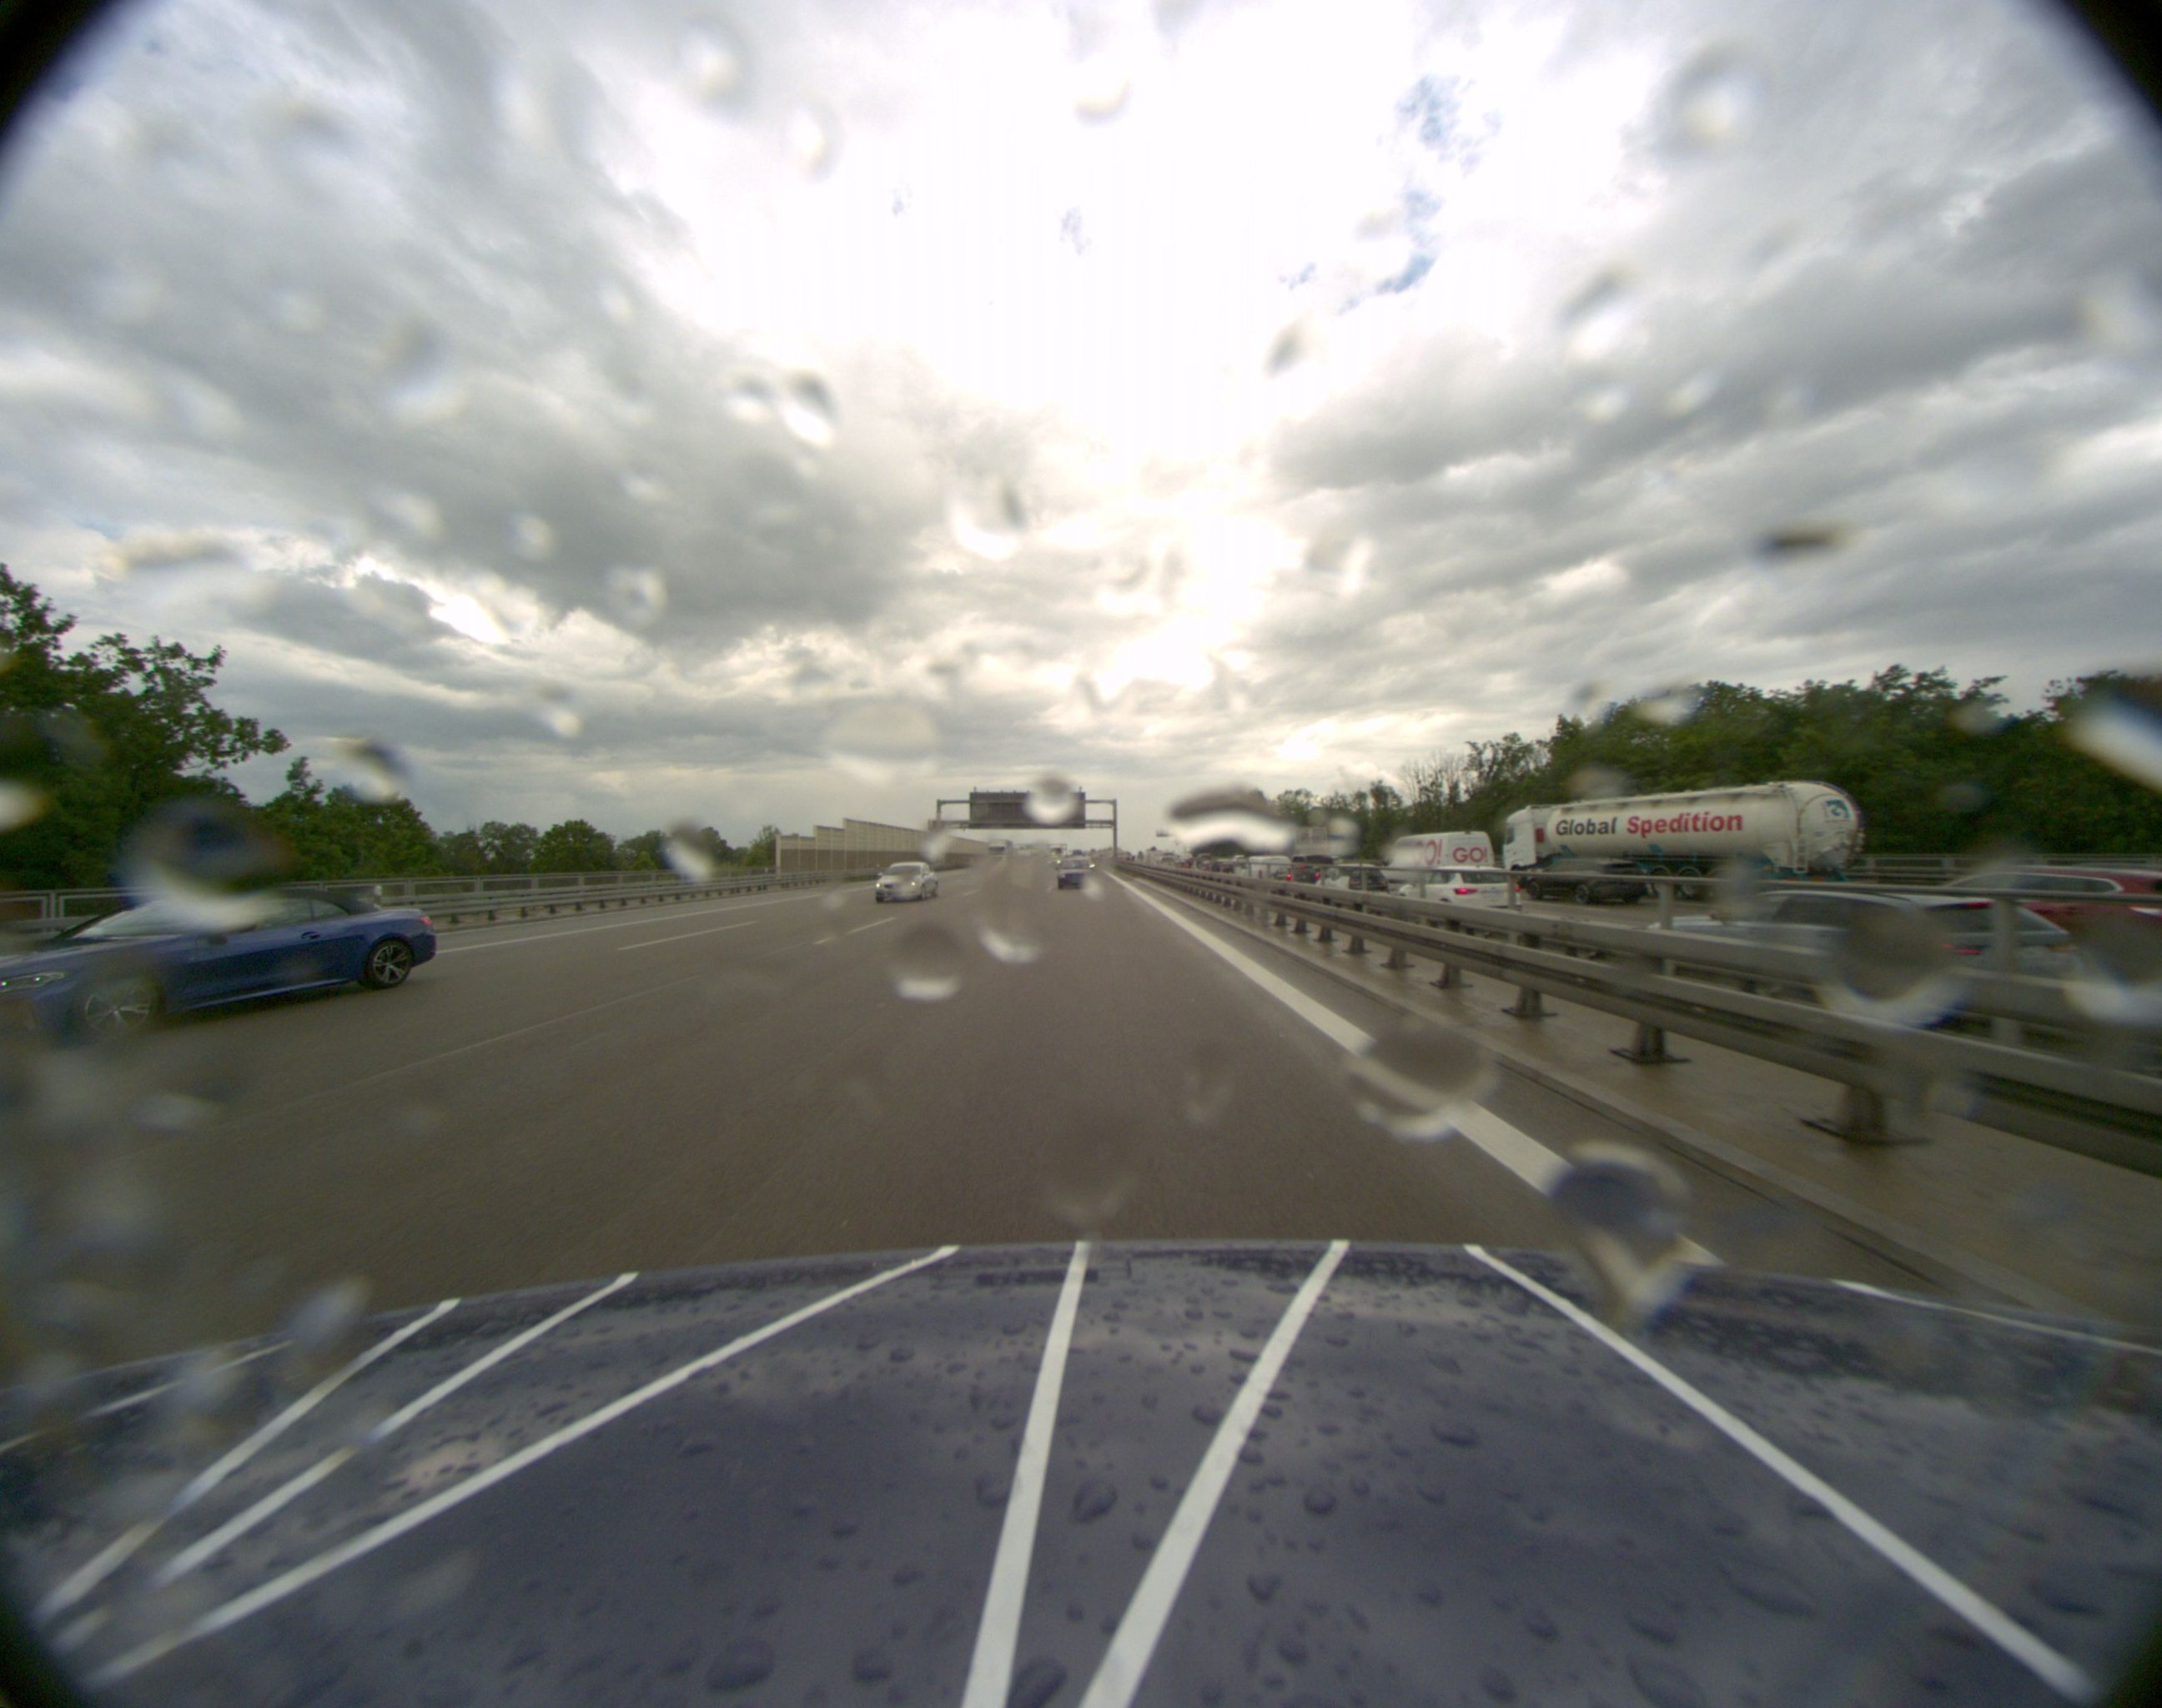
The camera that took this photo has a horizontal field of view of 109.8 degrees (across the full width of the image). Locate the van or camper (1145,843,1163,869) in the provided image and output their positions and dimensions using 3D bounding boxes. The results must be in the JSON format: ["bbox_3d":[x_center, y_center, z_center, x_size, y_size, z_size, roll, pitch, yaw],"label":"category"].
[{"bbox_3d":[9.959,0.284,104.137,2.007,3.381,4.368,-1,0,-1],"label":"van or camper"}]

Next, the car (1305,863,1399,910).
[{"bbox_3d":[9.931,1.139,28.230,1.794,1.501,4.602,-1,0,-1],"label":"car"}]

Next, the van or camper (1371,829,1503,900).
[{"bbox_3d":[14.515,0.364,31.690,2.039,2.589,7.457,-1,0,0],"label":"van or camper"}]

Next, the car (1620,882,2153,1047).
[{"bbox_3d":[10.246,1.252,10.499,1.957,1.506,5.070,-1,0,-1],"label":"car"}]

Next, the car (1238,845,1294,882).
[{"bbox_3d":[10.319,0.506,42.768,1.858,1.974,5.037,-1,0,-1],"label":"car"}]

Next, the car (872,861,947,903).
[{"bbox_3d":[-6.608,1.041,29.761,1.898,1.438,4.245,-2,0,0],"label":"car"}]

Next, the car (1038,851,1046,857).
[{"bbox_3d":[-9.854,0.105,191.362,1.884,1.501,4.213,-1,0,0],"label":"car"}]

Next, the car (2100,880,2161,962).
[{"bbox_3d":[17.846,1.082,10.752,1.502,1.260,3.999,-1,1,0],"label":"car"}]

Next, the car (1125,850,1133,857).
[{"bbox_3d":[12.293,-0.127,194.856,1.737,1.565,4.000,-1,0,0],"label":"car"}]

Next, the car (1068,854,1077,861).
[{"bbox_3d":[-1.969,0.834,183.505,1.998,1.805,4.000,-1,0,0],"label":"car"}]

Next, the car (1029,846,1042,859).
[{"bbox_3d":[-8.875,-0.320,149.046,2.036,2.587,4.513,-1,0,1],"label":"car"}]

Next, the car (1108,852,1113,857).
[{"bbox_3d":[8.703,0.135,225.023,1.489,1.466,4.032,-1,0,0],"label":"car"}]

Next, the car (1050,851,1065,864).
[{"bbox_3d":[-3.350,0.495,109.482,1.962,1.831,3.999,-1,1,0],"label":"car"}]

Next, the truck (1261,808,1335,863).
[{"bbox_3d":[18.471,-1.453,65.490,3.266,4.267,10.868,-1,0,0],"label":"truck"}]

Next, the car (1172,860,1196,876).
[{"bbox_3d":[10.063,1.322,74.339,1.757,1.464,4.034,-1,0,-1],"label":"car"}]

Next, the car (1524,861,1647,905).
[{"bbox_3d":[17.733,0.979,26.963,1.502,1.358,4.323,-1,0,0],"label":"car"}]

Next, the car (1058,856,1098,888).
[{"bbox_3d":[-0.124,0.834,36.967,1.781,1.399,5.016,-2,0,0],"label":"car"}]

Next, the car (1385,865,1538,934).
[{"bbox_3d":[10.429,1.156,21.322,1.794,1.618,4.926,-1,0,-1],"label":"car"}]

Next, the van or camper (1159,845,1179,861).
[{"bbox_3d":[14.201,-0.173,122.887,2.455,2.562,5.421,-1,0,0],"label":"van or camper"}]

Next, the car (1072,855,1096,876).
[{"bbox_3d":[0.256,0.885,60.056,1.751,1.489,4.015,-2,1,1],"label":"car"}]

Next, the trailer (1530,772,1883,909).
[{"bbox_3d":[22.062,-0.408,28.649,2.468,3.935,13.219,-1,0,0],"label":"trailer"}]

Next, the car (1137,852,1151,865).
[{"bbox_3d":[10.307,0.744,123.929,1.998,1.956,4.000,-1,0,0],"label":"car"}]

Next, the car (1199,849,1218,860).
[{"bbox_3d":[18.597,0.060,110.888,2.025,1.504,4.000,-1,0,0],"label":"car"}]

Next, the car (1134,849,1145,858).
[{"bbox_3d":[10.319,-0.047,133.922,1.737,1.565,4.000,-1,0,0],"label":"car"}]

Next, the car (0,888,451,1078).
[{"bbox_3d":[-10.165,1.238,8.843,1.781,1.438,4.587,-2,0,0],"label":"car"}]

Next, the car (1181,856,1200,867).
[{"bbox_3d":[14.961,0.985,104.330,2.025,1.504,4.000,-1,0,0],"label":"car"}]

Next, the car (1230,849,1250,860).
[{"bbox_3d":[21.950,0.028,105.047,2.025,1.504,4.000,-1,0,0],"label":"car"}]

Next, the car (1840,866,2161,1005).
[{"bbox_3d":[14.251,1.036,11.118,1.836,1.638,4.419,-1,0,-1],"label":"car"}]

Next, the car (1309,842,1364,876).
[{"bbox_3d":[14.576,0.280,43.567,1.709,1.829,4.114,-1,0,-1],"label":"car"}]

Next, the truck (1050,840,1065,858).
[{"bbox_3d":[-5.081,-1.035,164.863,2.958,3.777,12.324,-2,0,-2],"label":"truck"}]

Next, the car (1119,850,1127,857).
[{"bbox_3d":[9.482,-0.158,170.351,1.489,1.467,4.032,-1,0,0],"label":"car"}]

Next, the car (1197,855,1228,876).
[{"bbox_3d":[10.073,0.857,58.587,1.673,1.497,4.000,-1,0,0],"label":"car"}]

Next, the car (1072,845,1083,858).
[{"bbox_3d":[-0.651,-0.458,141.788,1.998,2.354,4.172,-2,0,1],"label":"car"}]

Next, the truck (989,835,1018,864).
[{"bbox_3d":[-11.392,-0.631,112.894,3.255,3.884,12.311,-2,0,-2],"label":"truck"}]

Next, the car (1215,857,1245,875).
[{"bbox_3d":[14.198,1.109,72.628,1.932,1.606,4.421,-1,0,0],"label":"car"}]

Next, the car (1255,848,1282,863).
[{"bbox_3d":[21.888,0.220,88.932,2.025,1.691,4.331,-1,0,0],"label":"car"}]

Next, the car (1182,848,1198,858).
[{"bbox_3d":[18.062,-0.166,126.054,2.025,1.504,4.000,-1,0,0],"label":"car"}]

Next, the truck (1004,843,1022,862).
[{"bbox_3d":[-11.242,-0.292,126.227,2.264,3.050,6.899,-1,0,0],"label":"truck"}]

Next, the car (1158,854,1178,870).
[{"bbox_3d":[10.165,0.937,89.430,1.826,1.831,4.034,-1,0,-1],"label":"car"}]

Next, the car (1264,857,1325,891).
[{"bbox_3d":[10.139,0.904,36.415,1.684,1.480,4.226,-1,0,-1],"label":"car"}]

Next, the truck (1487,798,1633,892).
[{"bbox_3d":[22.081,-0.382,35.547,2.468,3.942,6.982,-1,0,0],"label":"truck"}]
